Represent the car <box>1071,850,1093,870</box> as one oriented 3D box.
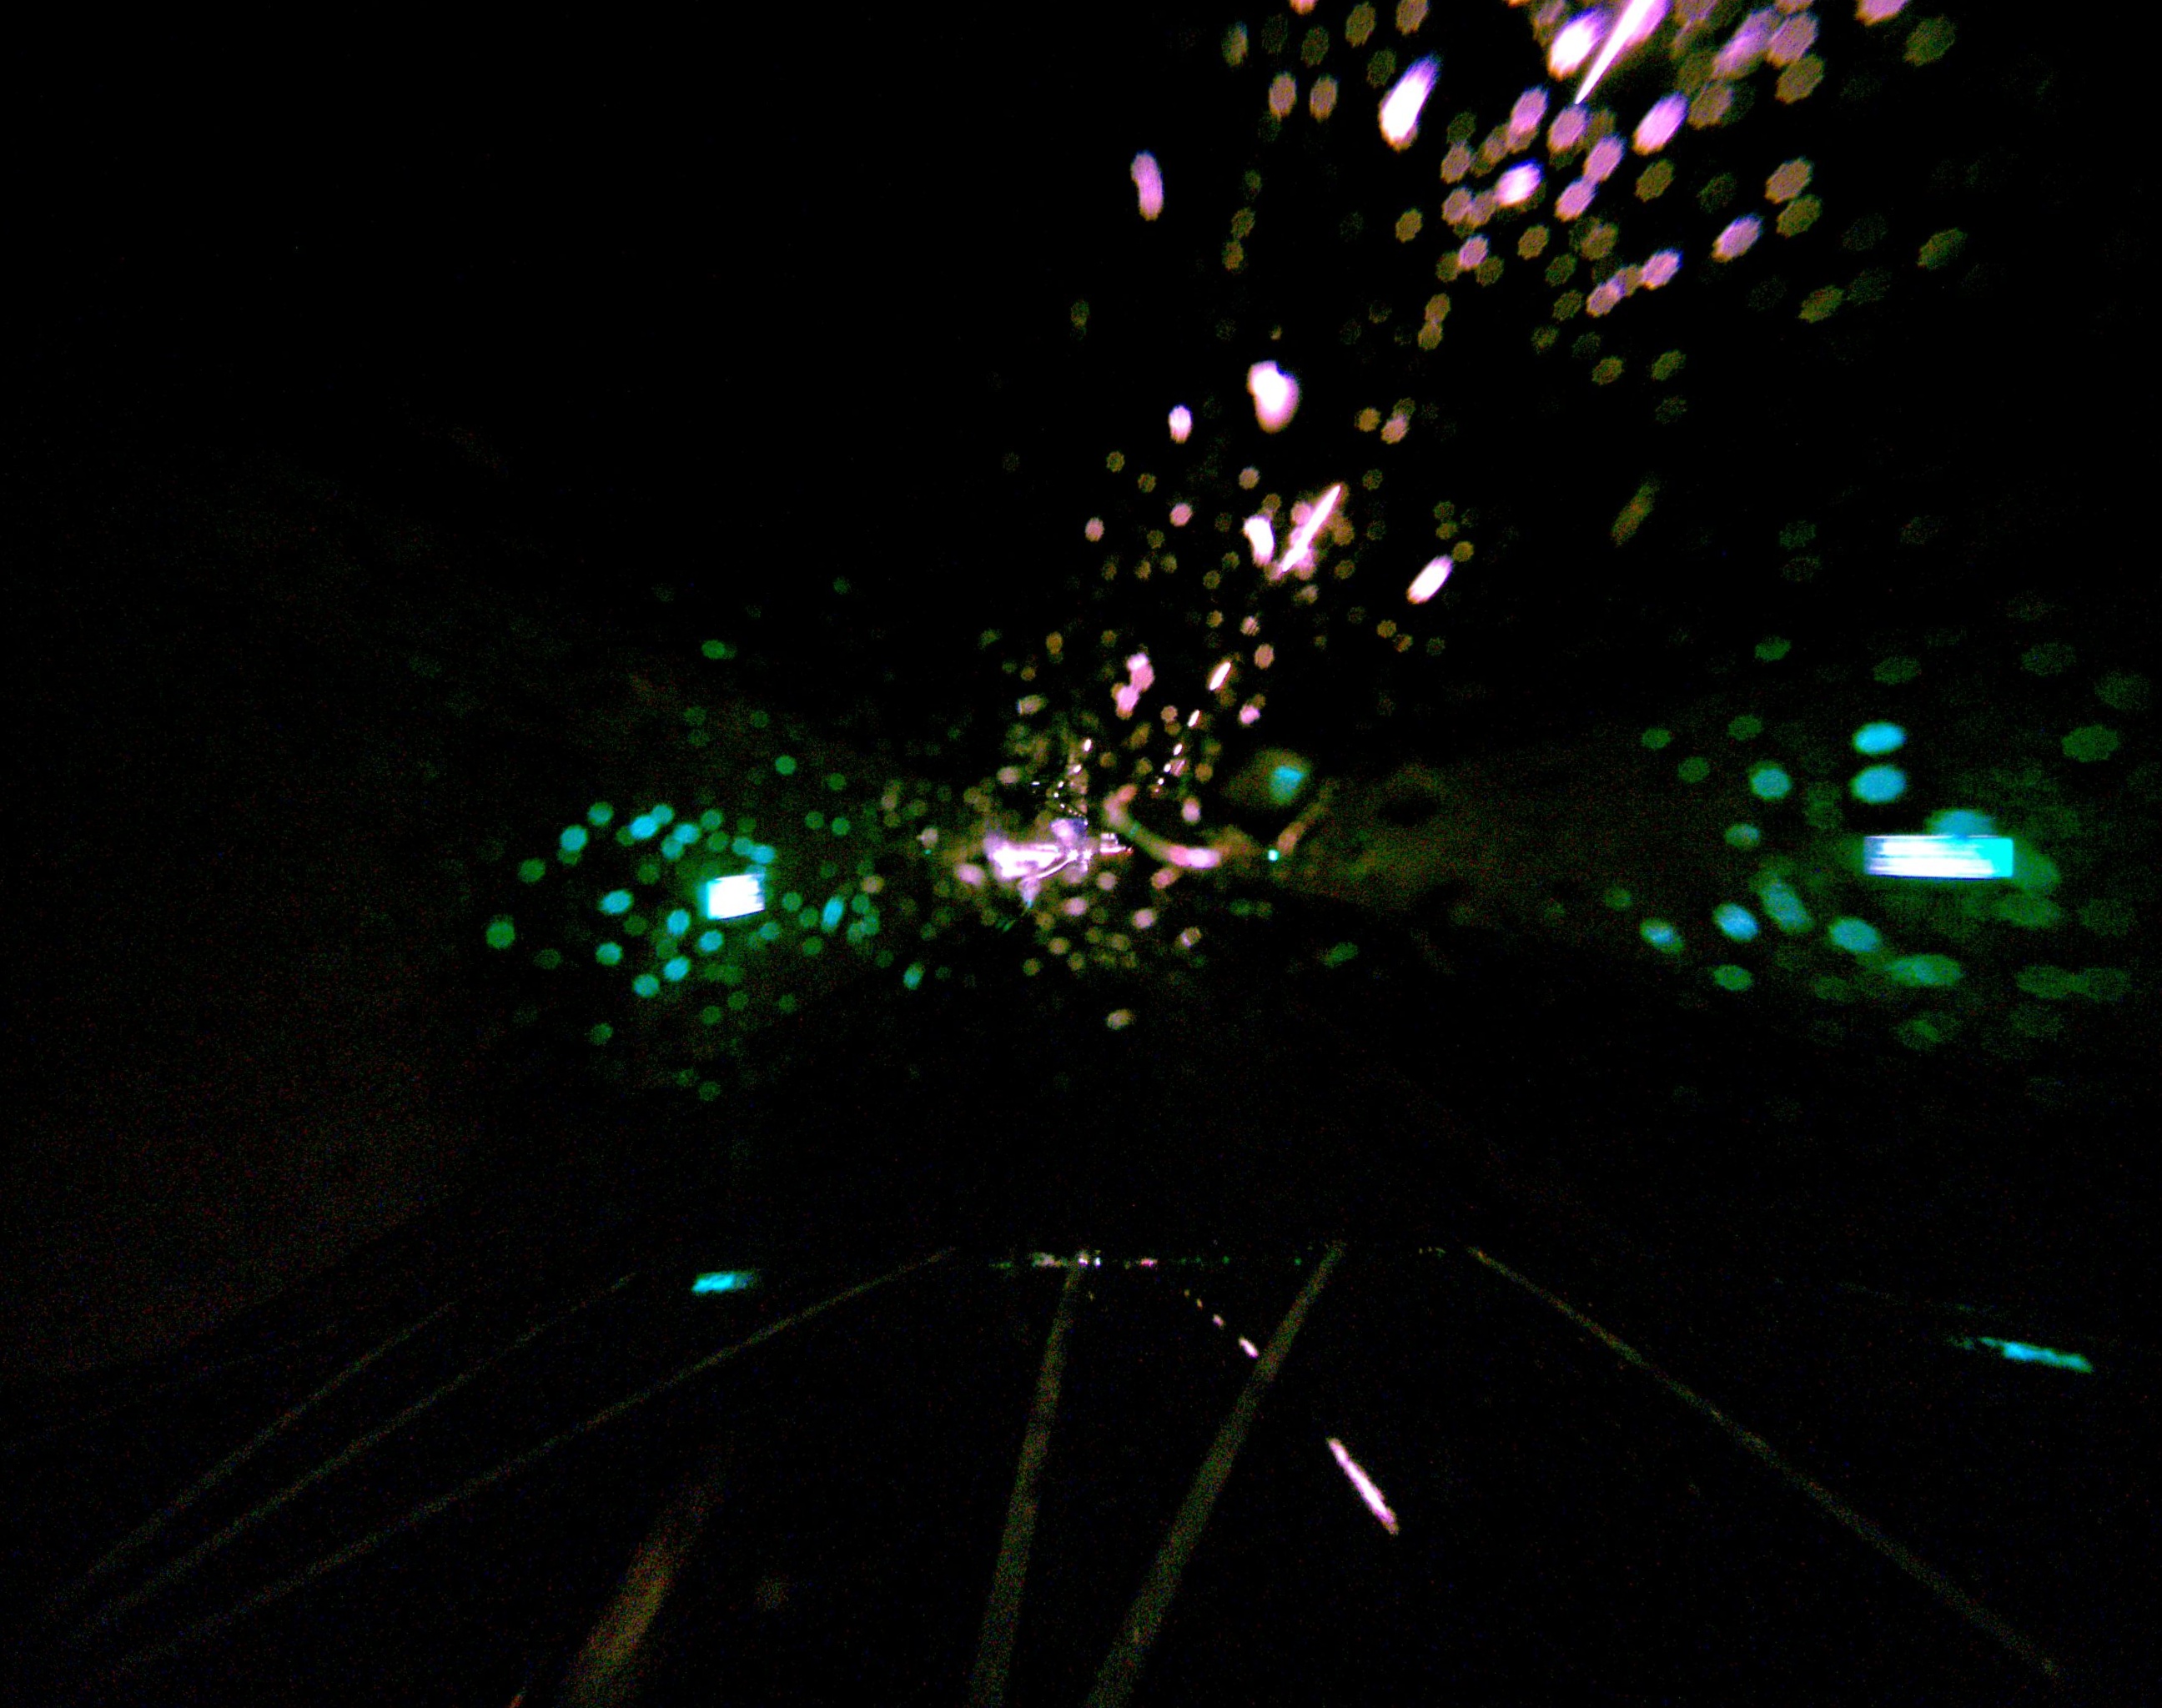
[{"bbox_3d":[0.113,0.587,80.329,2.030,2.017,4.425,-2,0,3],"label":"car"}]
